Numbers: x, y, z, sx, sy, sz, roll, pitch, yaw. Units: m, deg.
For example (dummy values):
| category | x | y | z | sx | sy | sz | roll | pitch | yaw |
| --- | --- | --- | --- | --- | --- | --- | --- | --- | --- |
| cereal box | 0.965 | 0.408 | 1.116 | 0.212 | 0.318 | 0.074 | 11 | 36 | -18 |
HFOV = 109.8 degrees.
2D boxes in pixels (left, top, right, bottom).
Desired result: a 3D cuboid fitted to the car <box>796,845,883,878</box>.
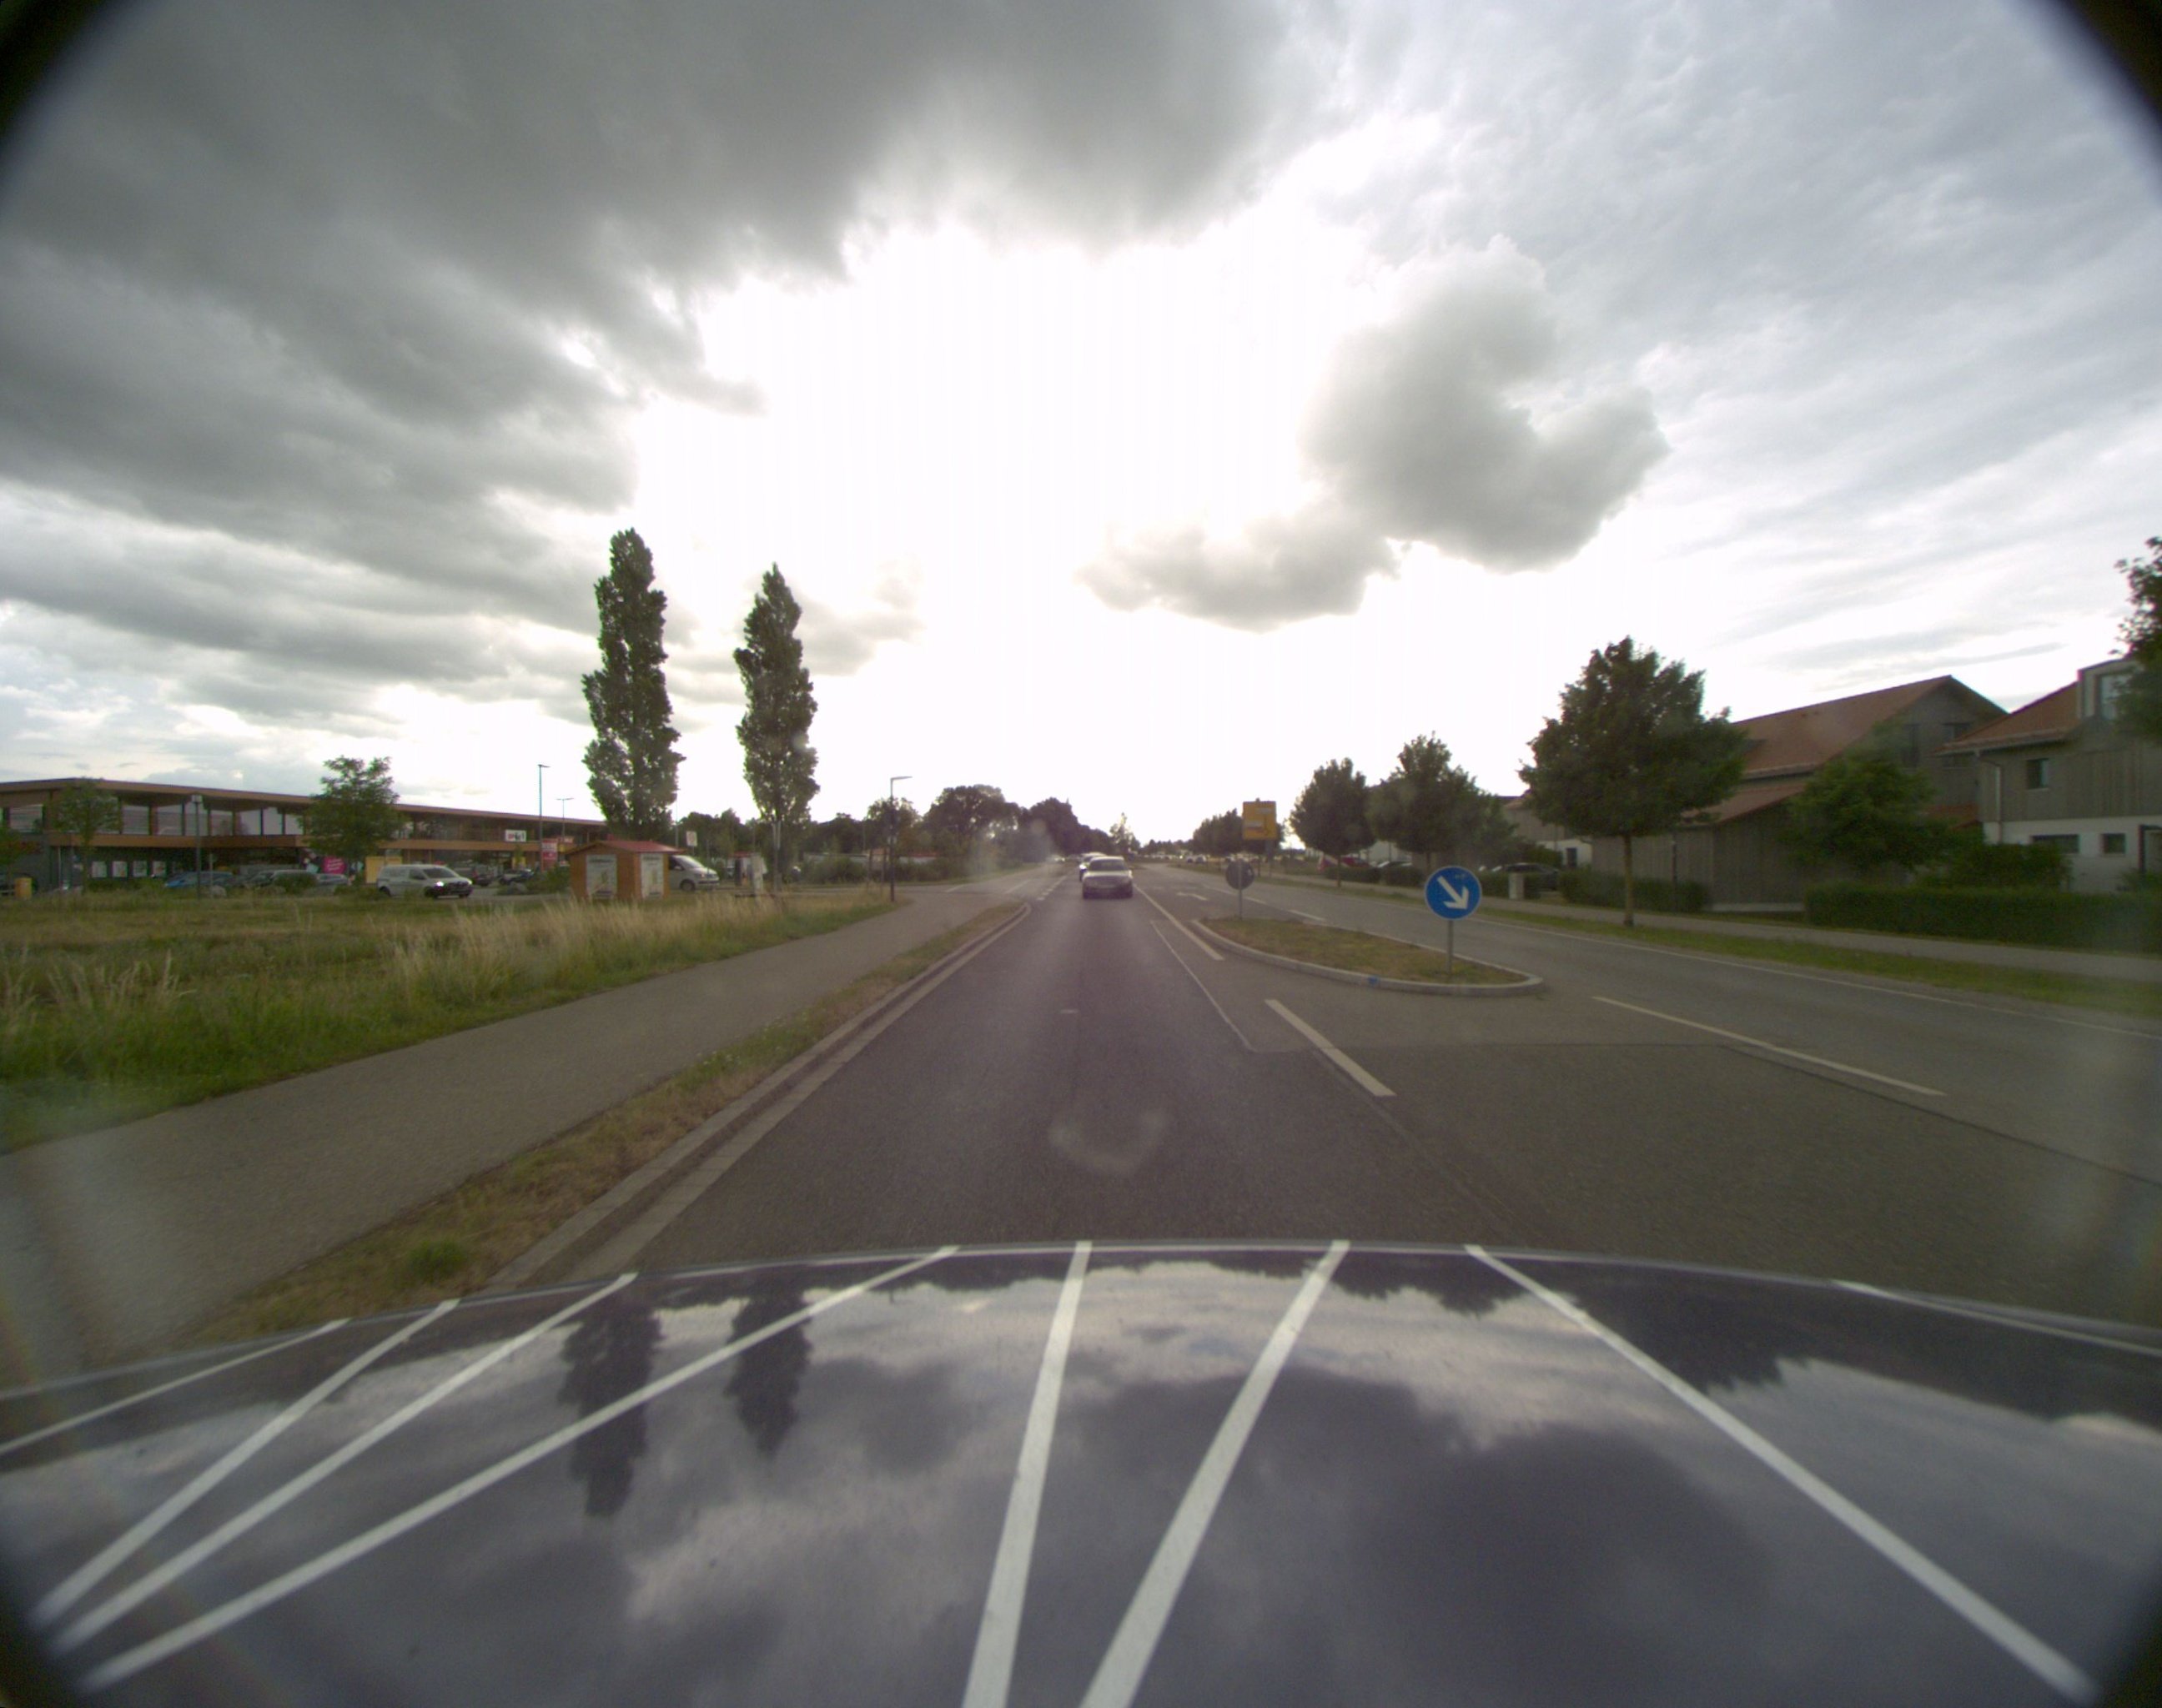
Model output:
| category | x | y | z | sx | sy | sz | roll | pitch | yaw |
| --- | --- | --- | --- | --- | --- | --- | --- | --- | --- |
| car | -17.133 | 0.510 | 54.116 | 5.527 | 2.002 | 1.999 | -2 | 1 | -5 |

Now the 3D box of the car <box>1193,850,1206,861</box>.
| category | x | y | z | sx | sy | sz | roll | pitch | yaw |
| --- | --- | --- | --- | --- | --- | --- | --- | --- | --- |
| car | 20.814 | 0.256 | 133.625 | 1.998 | 1.772 | 4.001 | -2 | 1 | 5 |

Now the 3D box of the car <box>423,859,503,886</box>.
| category | x | y | z | sx | sy | sz | roll | pitch | yaw |
| --- | --- | --- | --- | --- | --- | --- | --- | --- | --- |
| car | -52.659 | 1.544 | 64.813 | 4.857 | 2.002 | 1.998 | -3 | 1 | -7 |

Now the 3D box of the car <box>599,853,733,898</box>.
| category | x | y | z | sx | sy | sz | roll | pitch | yaw |
| --- | --- | --- | --- | --- | --- | --- | --- | --- | --- |
| car | -21.139 | 1.060 | 38.894 | 5.313 | 2.002 | 2.562 | -2 | 1 | 2 |

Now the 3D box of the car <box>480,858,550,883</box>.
| category | x | y | z | sx | sy | sz | roll | pitch | yaw |
| --- | --- | --- | --- | --- | --- | --- | --- | --- | --- |
| car | -53.297 | 1.527 | 71.606 | 4.857 | 2.002 | 1.998 | -3 | 1 | -7 |

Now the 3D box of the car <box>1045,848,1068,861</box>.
| category | x | y | z | sx | sy | sz | roll | pitch | yaw |
| --- | --- | --- | --- | --- | --- | --- | --- | --- | --- |
| car | -4.172 | 0.056 | 128.066 | 1.795 | 2.002 | 4.455 | -3 | 1 | -33 |

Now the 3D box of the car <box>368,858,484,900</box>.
| category | x | y | z | sx | sy | sz | roll | pitch | yaw |
| --- | --- | --- | --- | --- | --- | --- | --- | --- | --- |
| car | -34.520 | 1.313 | 40.079 | 5.307 | 2.002 | 2.002 | -2 | 1 | 17 |

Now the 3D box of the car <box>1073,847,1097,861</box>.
| category | x | y | z | sx | sy | sz | roll | pitch | yaw |
| --- | --- | --- | --- | --- | --- | --- | --- | --- | --- |
| car | 0.626 | -0.004 | 117.434 | 2.003 | 2.002 | 3.991 | -3 | 1 | -29 |

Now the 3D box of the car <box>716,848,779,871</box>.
| category | x | y | z | sx | sy | sz | roll | pitch | yaw |
| --- | --- | --- | --- | --- | --- | --- | --- | --- | --- |
| car | -34.241 | 0.550 | 78.156 | 5.527 | 2.002 | 1.999 | -2 | 1 | -5 |

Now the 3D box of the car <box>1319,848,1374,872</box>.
| category | x | y | z | sx | sy | sz | roll | pitch | yaw |
| --- | --- | --- | --- | --- | --- | --- | --- | --- | --- |
| car | 25.507 | 0.568 | 73.152 | 4.568 | 2.002 | 2.000 | -2 | 1 | 6 |

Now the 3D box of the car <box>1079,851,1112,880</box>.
| category | x | y | z | sx | sy | sz | roll | pitch | yaw |
| --- | --- | --- | --- | --- | --- | --- | --- | --- | --- |
| car | 0.846 | 0.634 | 43.882 | 1.763 | 1.495 | 4.691 | -3 | 1 | 1 |

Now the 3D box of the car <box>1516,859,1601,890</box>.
| category | x | y | z | sx | sy | sz | roll | pitch | yaw |
| --- | --- | --- | --- | --- | --- | --- | --- | --- | --- |
| car | 24.979 | 1.062 | 39.811 | 3.592 | 1.431 | 1.301 | -2 | 1 | 1 |

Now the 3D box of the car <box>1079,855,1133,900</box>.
| category | x | y | z | sx | sy | sz | roll | pitch | yaw |
| --- | --- | --- | --- | --- | --- | --- | --- | --- | --- |
| car | 0.954 | 0.795 | 27.912 | 1.763 | 1.410 | 4.520 | -3 | 1 | 3 |
